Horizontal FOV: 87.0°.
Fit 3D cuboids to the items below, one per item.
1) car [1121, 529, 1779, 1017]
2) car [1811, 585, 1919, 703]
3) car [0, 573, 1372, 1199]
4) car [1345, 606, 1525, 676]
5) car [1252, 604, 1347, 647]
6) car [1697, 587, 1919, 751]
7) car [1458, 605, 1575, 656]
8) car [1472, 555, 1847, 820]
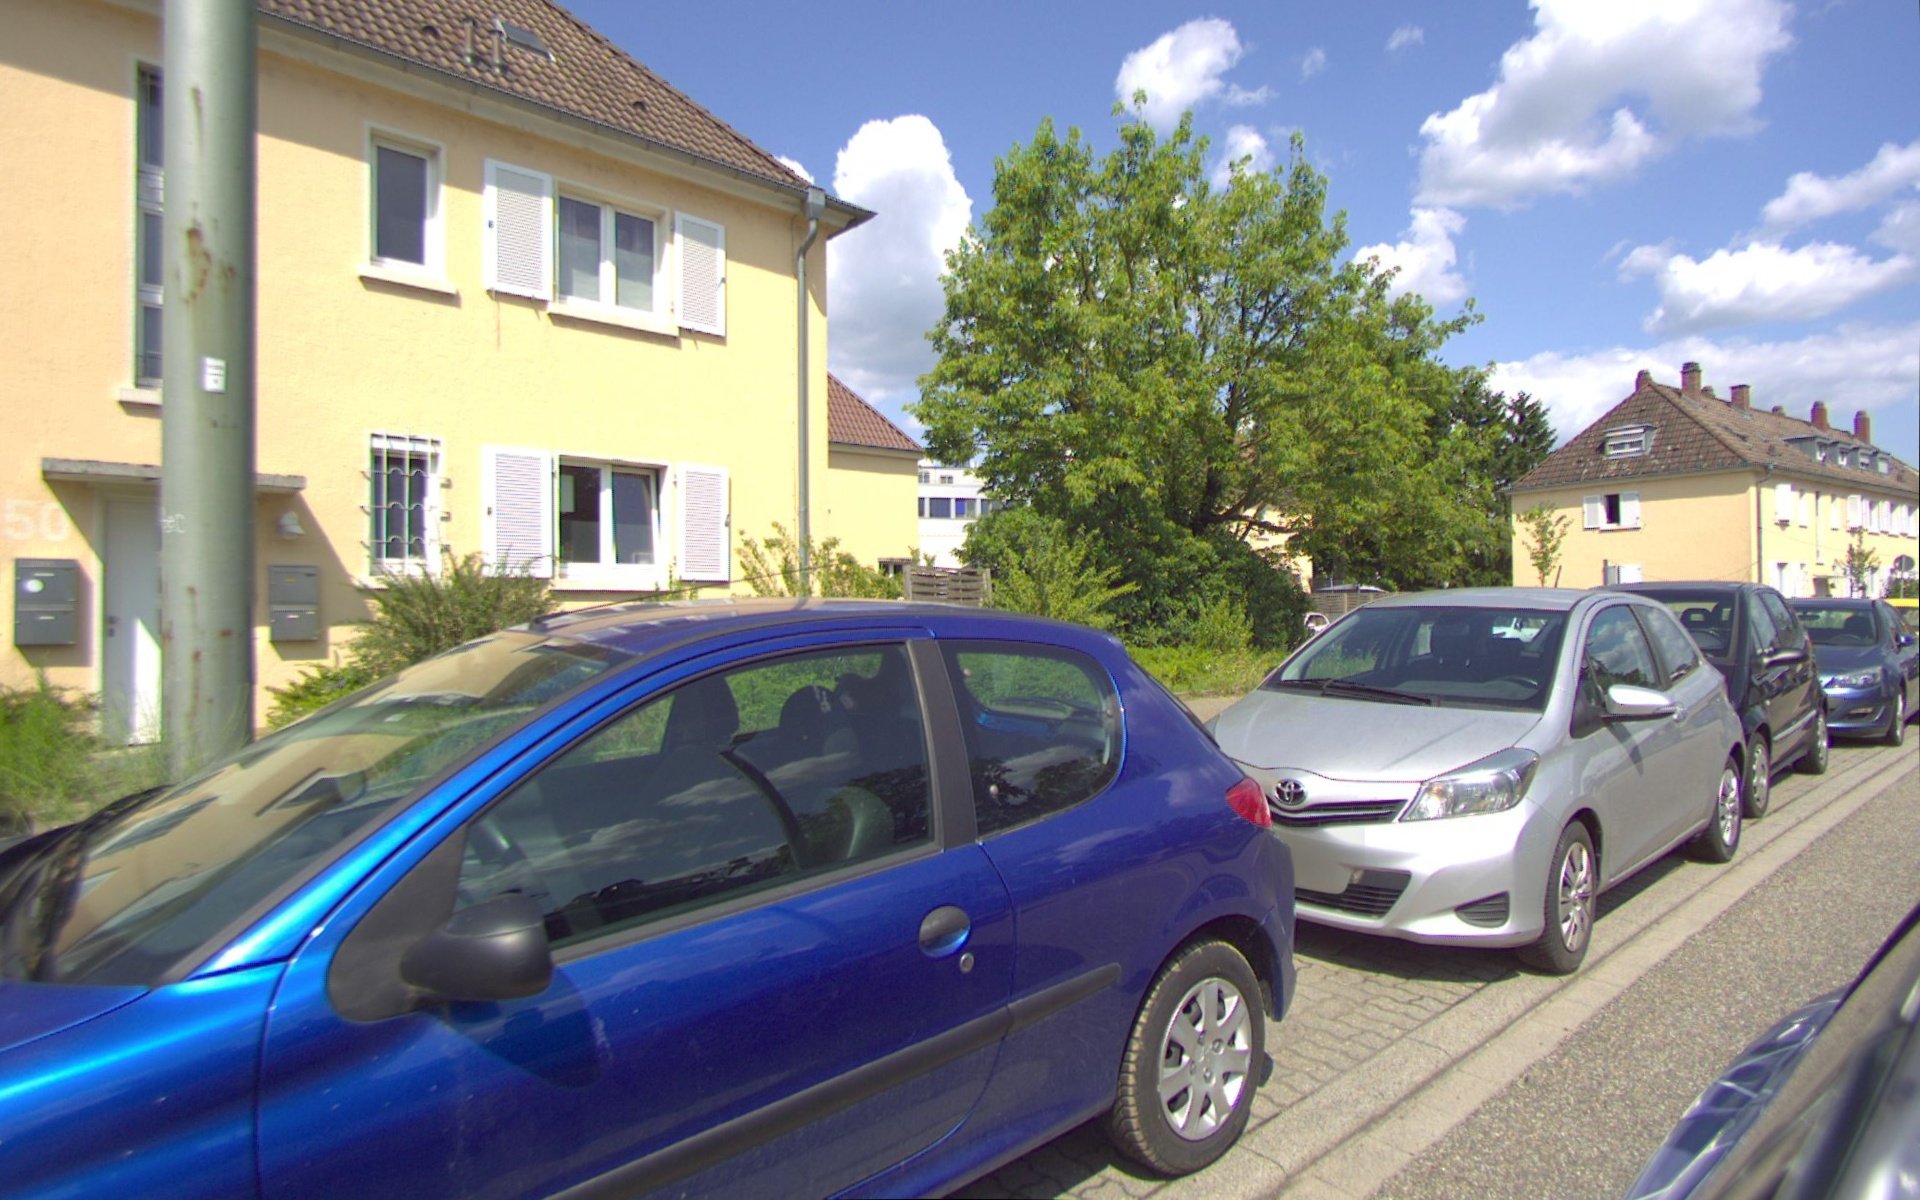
[{"bbox_3d":[2.772,0.583,5.298,3.958,1.623,1.639,0,-1,-40],"label":"car"},{"bbox_3d":[13.886,0.600,14.643,3.859,1.501,1.641,1,2,-38],"label":"car"},{"bbox_3d":[-0.704,0.713,2.328,3.671,1.464,1.539,0,-1,-40],"label":"car"},{"bbox_3d":[10.402,0.838,22.100,4.007,1.372,1.642,0,0,-32],"label":"car"},{"bbox_3d":[11.738,0.862,34.877,1.634,1.392,4.026,-3,-2,42],"label":"car"},{"bbox_3d":[9.765,0.640,11.235,4.051,1.501,1.639,0,-1,-40],"label":"car"},{"bbox_3d":[16.407,0.839,29.765,4.014,1.391,1.639,0,0,-39],"label":"car"},{"bbox_3d":[5.745,0.543,8.130,3.864,1.623,1.638,0,-1,-42],"label":"car"}]
